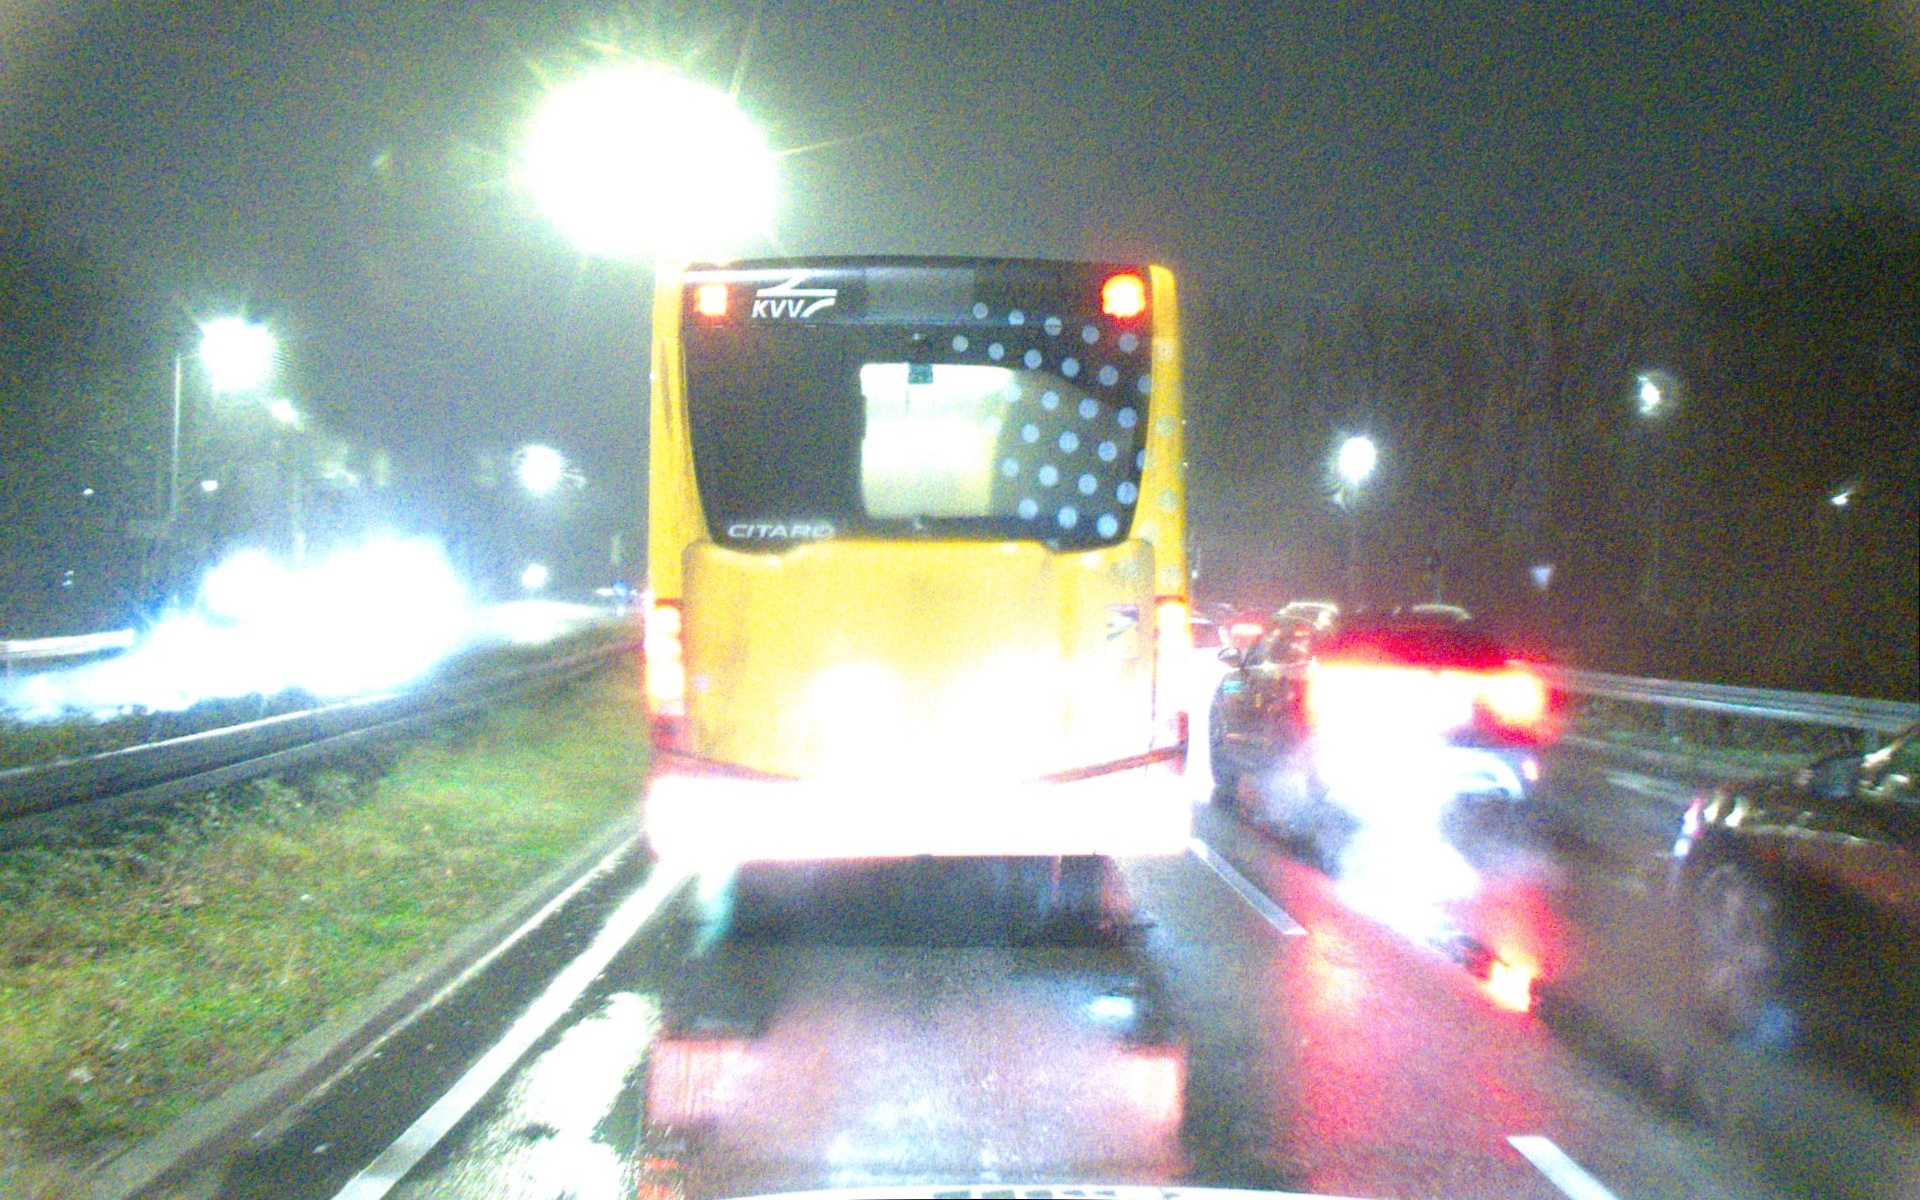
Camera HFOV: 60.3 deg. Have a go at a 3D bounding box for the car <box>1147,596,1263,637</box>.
[{"bbox_3d":[10.104,0.678,68.346,4.399,1.545,1.854,1,1,-9],"label":"car"}]

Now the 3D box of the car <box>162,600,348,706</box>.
[{"bbox_3d":[-11.728,0.862,27.805,1.835,1.636,4.239,0,-1,-9],"label":"car"}]

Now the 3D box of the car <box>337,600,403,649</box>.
[{"bbox_3d":[-20.267,0.809,56.956,1.817,1.598,3.494,0,1,-15],"label":"car"}]

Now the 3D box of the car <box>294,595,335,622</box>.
[{"bbox_3d":[-37.061,0.502,94.893,1.721,1.528,3.962,1,-1,-28],"label":"car"}]

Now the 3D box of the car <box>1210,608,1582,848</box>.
[{"bbox_3d":[3.169,0.872,12.841,1.643,1.548,3.957,1,-1,-3],"label":"car"}]

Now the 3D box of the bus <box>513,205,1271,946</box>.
[{"bbox_3d":[-0.569,-0.181,11.809,3.220,3.103,9.537,0,1,-4],"label":"bus"}]

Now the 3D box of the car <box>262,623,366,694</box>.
[{"bbox_3d":[-16.499,1.453,42.429,1.734,1.659,4.238,0,0,-11],"label":"car"}]

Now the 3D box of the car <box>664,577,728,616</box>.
[{"bbox_3d":[-12.423,-0.139,77.746,1.968,1.751,3.969,1,-1,-24],"label":"car"}]

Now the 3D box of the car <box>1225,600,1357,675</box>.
[{"bbox_3d":[7.416,0.827,37.469,1.953,1.506,4.336,3,-1,-2],"label":"car"}]

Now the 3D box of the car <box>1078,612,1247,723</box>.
[{"bbox_3d":[2.693,0.890,22.776,1.652,1.354,3.958,-1,-1,-3],"label":"car"}]

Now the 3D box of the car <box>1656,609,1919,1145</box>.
[{"bbox_3d":[3.597,0.819,4.219,1.639,1.533,4.558,3,-1,-1],"label":"car"}]
